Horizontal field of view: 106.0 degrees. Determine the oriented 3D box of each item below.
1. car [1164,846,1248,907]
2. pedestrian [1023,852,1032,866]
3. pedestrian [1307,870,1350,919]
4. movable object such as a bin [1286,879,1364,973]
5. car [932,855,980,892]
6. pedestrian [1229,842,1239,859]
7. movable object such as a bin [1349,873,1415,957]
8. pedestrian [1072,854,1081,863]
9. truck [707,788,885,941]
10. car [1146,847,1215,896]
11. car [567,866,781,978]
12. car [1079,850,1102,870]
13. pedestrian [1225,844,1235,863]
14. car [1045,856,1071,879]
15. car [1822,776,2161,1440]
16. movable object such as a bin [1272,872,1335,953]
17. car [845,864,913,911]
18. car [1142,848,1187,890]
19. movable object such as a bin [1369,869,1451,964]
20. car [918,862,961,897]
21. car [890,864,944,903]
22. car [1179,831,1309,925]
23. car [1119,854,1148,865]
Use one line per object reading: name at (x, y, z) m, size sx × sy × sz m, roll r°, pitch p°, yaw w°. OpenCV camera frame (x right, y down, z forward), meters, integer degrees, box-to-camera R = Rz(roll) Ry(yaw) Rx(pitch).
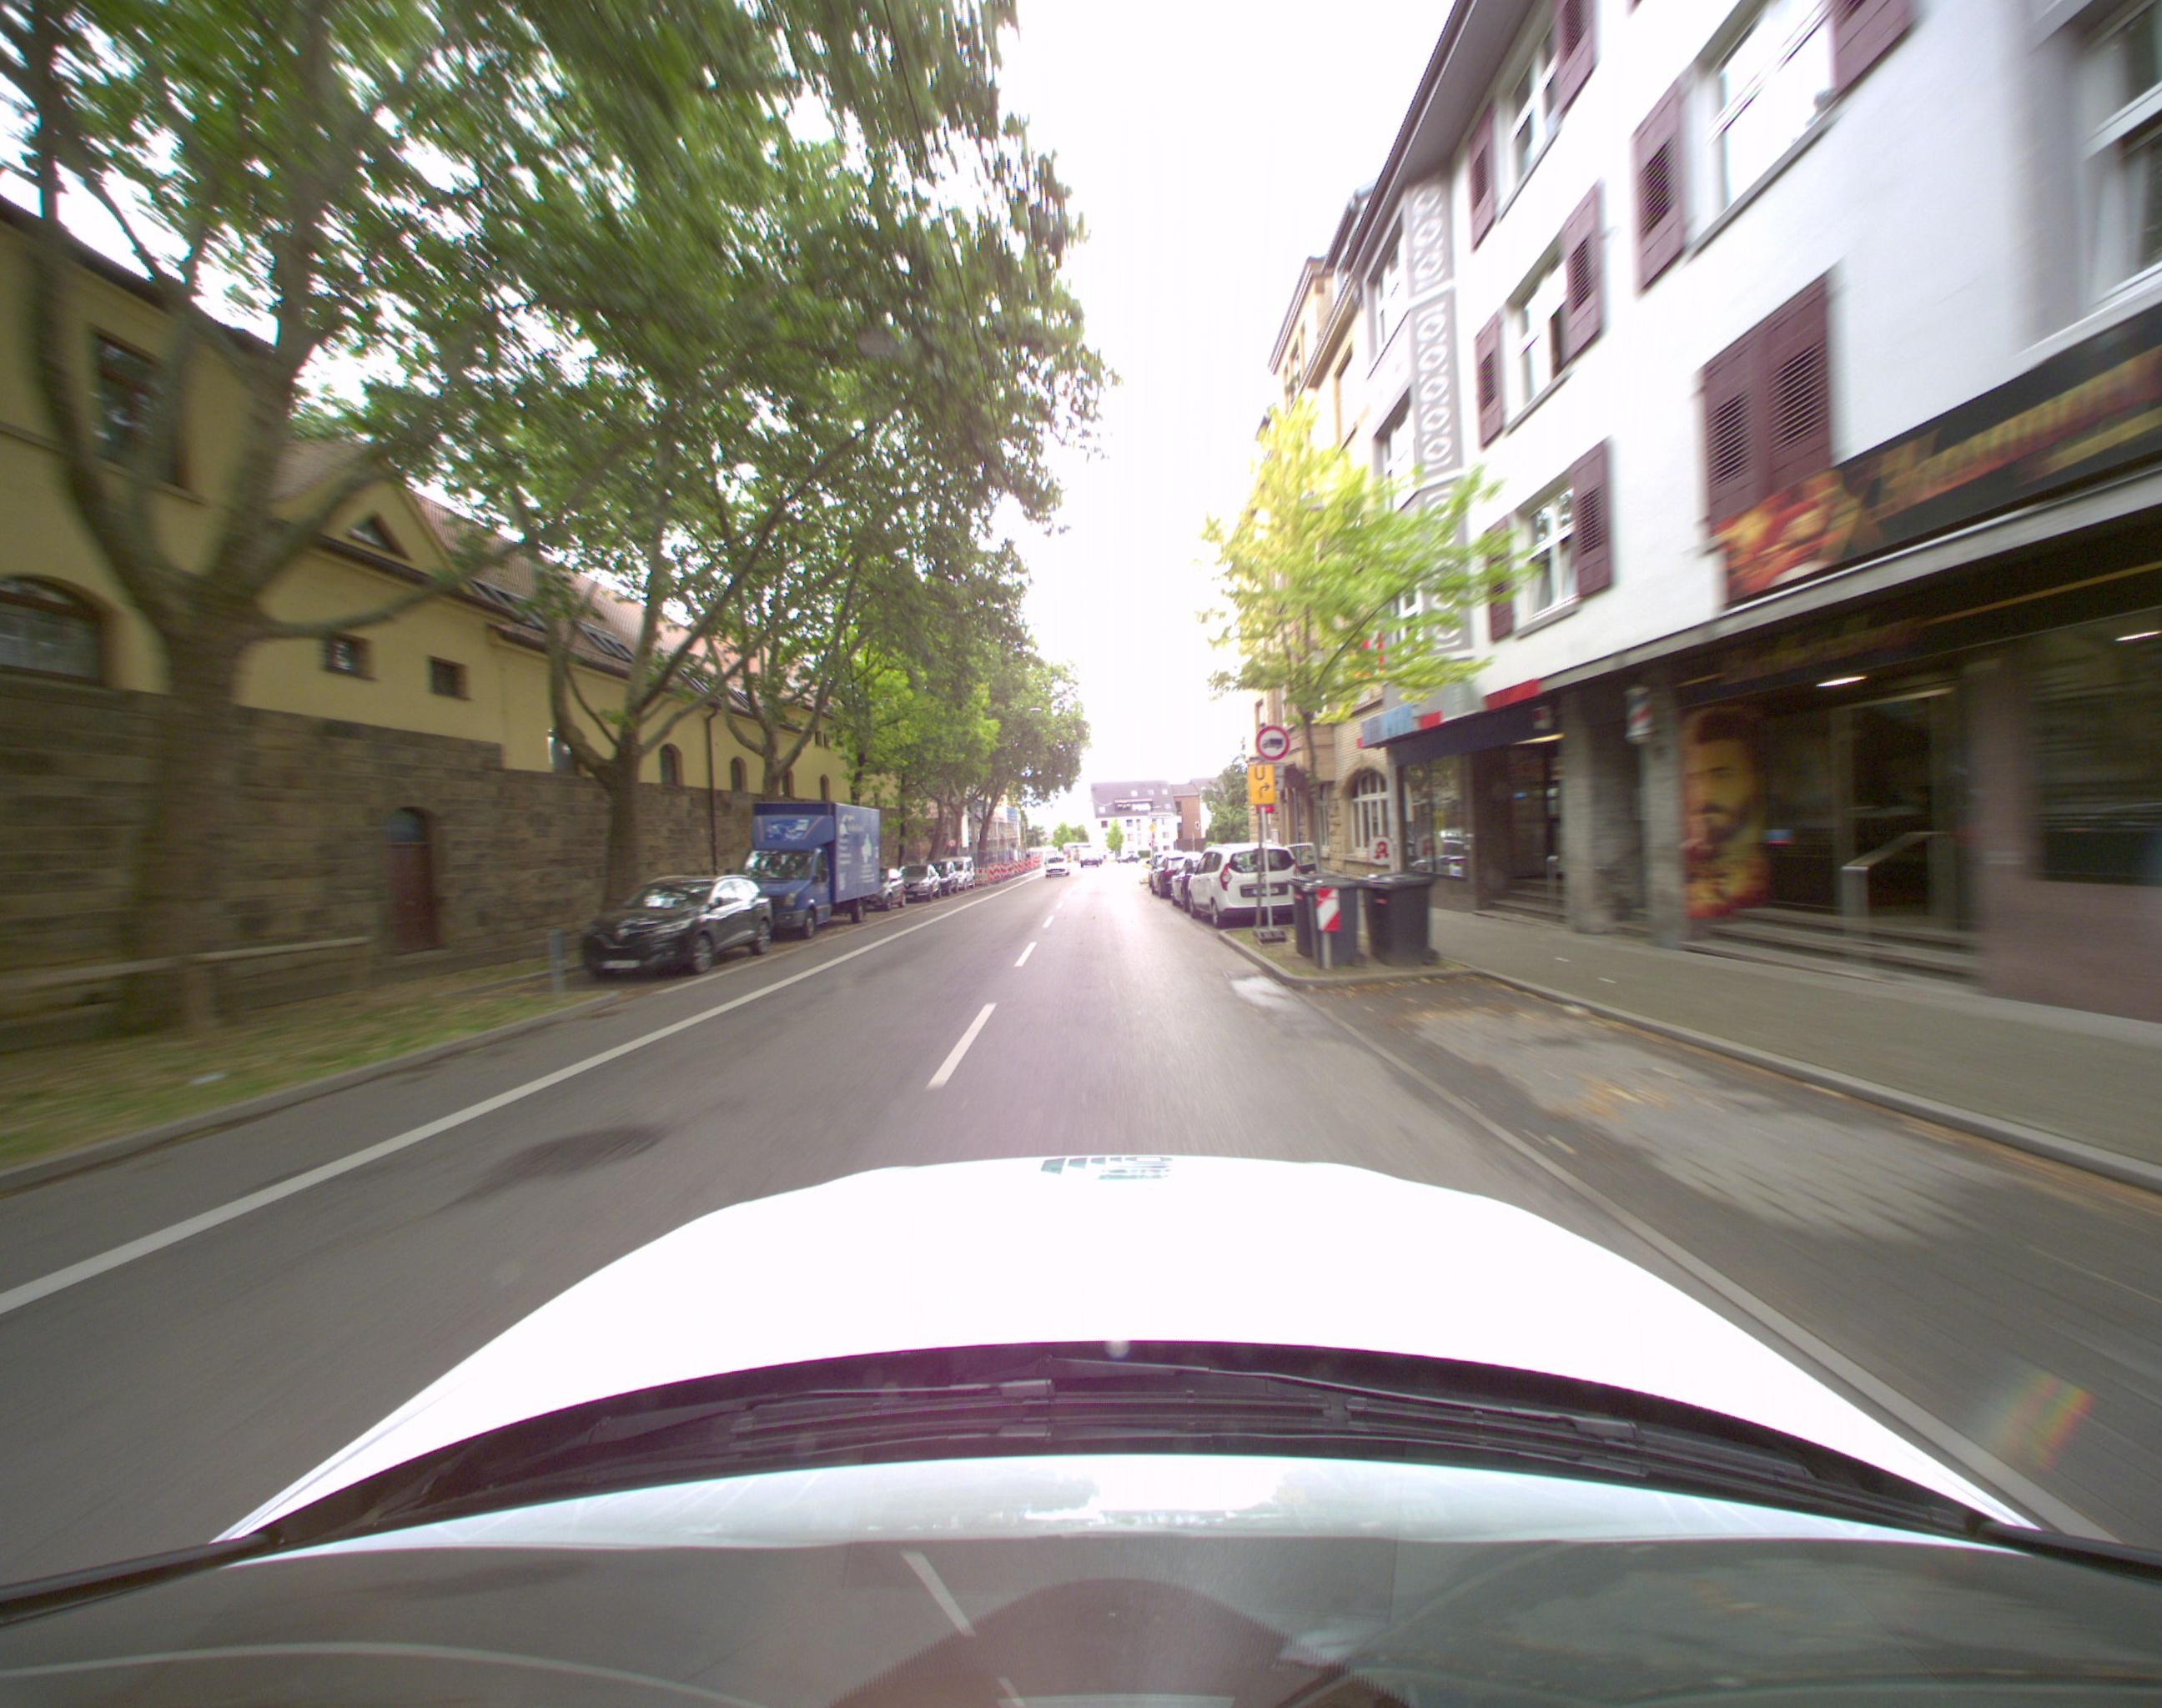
car at (3.352, 0.575, 22.541) m, size 1.600 × 1.397 × 4.275 m, roll -5°, pitch 0°, yaw 0°
pedestrian at (-6.851, 0.646, 104.429) m, size 0.919 × 1.720 × 0.799 m, roll -1°, pitch -1°, yaw 4°
pedestrian at (4.925, 0.796, 16.228) m, size 0.623 × 0.941 × 0.693 m, roll -1°, pitch 0°, yaw 0°
movable object such as a bin at (2.923, 0.845, 9.800) m, size 0.621 × 1.024 × 0.695 m, roll -3°, pitch 0°, yaw -7°
car at (-6.989, 1.055, 45.912) m, size 1.827 × 1.876 × 4.418 m, roll -3°, pitch 0°, yaw 2°
pedestrian at (14.795, -0.360, 78.808) m, size 0.583 × 1.585 × 0.569 m, roll -6°, pitch 1°, yaw -27°
movable object such as a bin at (3.876, 0.771, 10.530) m, size 0.575 × 1.024 × 0.623 m, roll -3°, pitch 0°, yaw -2°
pedestrian at (-0.622, 0.652, 113.654) m, size 0.923 × 1.192 × 0.911 m, roll -1°, pitch -1°, yaw 29°
truck at (-7.328, 0.249, 22.055) m, size 2.208 × 3.416 × 7.246 m, roll -1°, pitch 0°, yaw 0°
car at (3.431, 0.588, 28.900) m, size 1.733 × 1.463 × 4.773 m, roll -5°, pitch 0°, yaw -1°
car at (-7.130, 1.094, 14.826) m, size 1.725 × 1.689 × 4.252 m, roll -1°, pitch -1°, yaw 0°
car at (1.044, 0.632, 84.674) m, size 2.196 × 1.931 × 5.242 m, roll -1°, pitch -1°, yaw 2°
pedestrian at (13.852, -0.071, 75.816) m, size 0.714 × 1.735 × 0.654 m, roll 1°, pitch -2°, yaw -32°
car at (-1.609, 0.923, 58.890) m, size 1.577 × 1.464 × 3.653 m, roll -5°, pitch 0°, yaw 1°
car at (3.163, 0.549, 0.894) m, size 1.476 × 1.534 × 3.523 m, roll -4°, pitch 0°, yaw 2°
movable object such as a bin at (3.028, 0.781, 11.144) m, size 0.620 × 1.024 × 0.696 m, roll -3°, pitch 1°, yaw -2°
car at (-7.293, 1.179, 29.612) m, size 1.473 × 1.574 × 2.995 m, roll -1°, pitch -1°, yaw 5°
car at (3.565, 0.621, 35.125) m, size 1.559 × 1.610 × 3.655 m, roll -3°, pitch 0°, yaw 1°
movable object such as a bin at (3.929, 0.731, 9.764) m, size 0.693 × 1.073 × 0.623 m, roll -1°, pitch 0°, yaw -3°
car at (-6.924, 1.209, 40.208) m, size 1.504 × 1.631 × 4.113 m, roll -1°, pitch -1°, yaw -1°
car at (-7.014, 1.234, 35.131) m, size 1.590 × 1.574 × 4.083 m, roll -1°, pitch -1°, yaw -2°
car at (3.366, 0.461, 17.688) m, size 1.674 × 1.663 × 4.540 m, roll -5°, pitch 0°, yaw -2°
car at (7.115, 0.745, 111.095) m, size 3.681 × 1.426 × 1.702 m, roll -2°, pitch 0°, yaw -6°
